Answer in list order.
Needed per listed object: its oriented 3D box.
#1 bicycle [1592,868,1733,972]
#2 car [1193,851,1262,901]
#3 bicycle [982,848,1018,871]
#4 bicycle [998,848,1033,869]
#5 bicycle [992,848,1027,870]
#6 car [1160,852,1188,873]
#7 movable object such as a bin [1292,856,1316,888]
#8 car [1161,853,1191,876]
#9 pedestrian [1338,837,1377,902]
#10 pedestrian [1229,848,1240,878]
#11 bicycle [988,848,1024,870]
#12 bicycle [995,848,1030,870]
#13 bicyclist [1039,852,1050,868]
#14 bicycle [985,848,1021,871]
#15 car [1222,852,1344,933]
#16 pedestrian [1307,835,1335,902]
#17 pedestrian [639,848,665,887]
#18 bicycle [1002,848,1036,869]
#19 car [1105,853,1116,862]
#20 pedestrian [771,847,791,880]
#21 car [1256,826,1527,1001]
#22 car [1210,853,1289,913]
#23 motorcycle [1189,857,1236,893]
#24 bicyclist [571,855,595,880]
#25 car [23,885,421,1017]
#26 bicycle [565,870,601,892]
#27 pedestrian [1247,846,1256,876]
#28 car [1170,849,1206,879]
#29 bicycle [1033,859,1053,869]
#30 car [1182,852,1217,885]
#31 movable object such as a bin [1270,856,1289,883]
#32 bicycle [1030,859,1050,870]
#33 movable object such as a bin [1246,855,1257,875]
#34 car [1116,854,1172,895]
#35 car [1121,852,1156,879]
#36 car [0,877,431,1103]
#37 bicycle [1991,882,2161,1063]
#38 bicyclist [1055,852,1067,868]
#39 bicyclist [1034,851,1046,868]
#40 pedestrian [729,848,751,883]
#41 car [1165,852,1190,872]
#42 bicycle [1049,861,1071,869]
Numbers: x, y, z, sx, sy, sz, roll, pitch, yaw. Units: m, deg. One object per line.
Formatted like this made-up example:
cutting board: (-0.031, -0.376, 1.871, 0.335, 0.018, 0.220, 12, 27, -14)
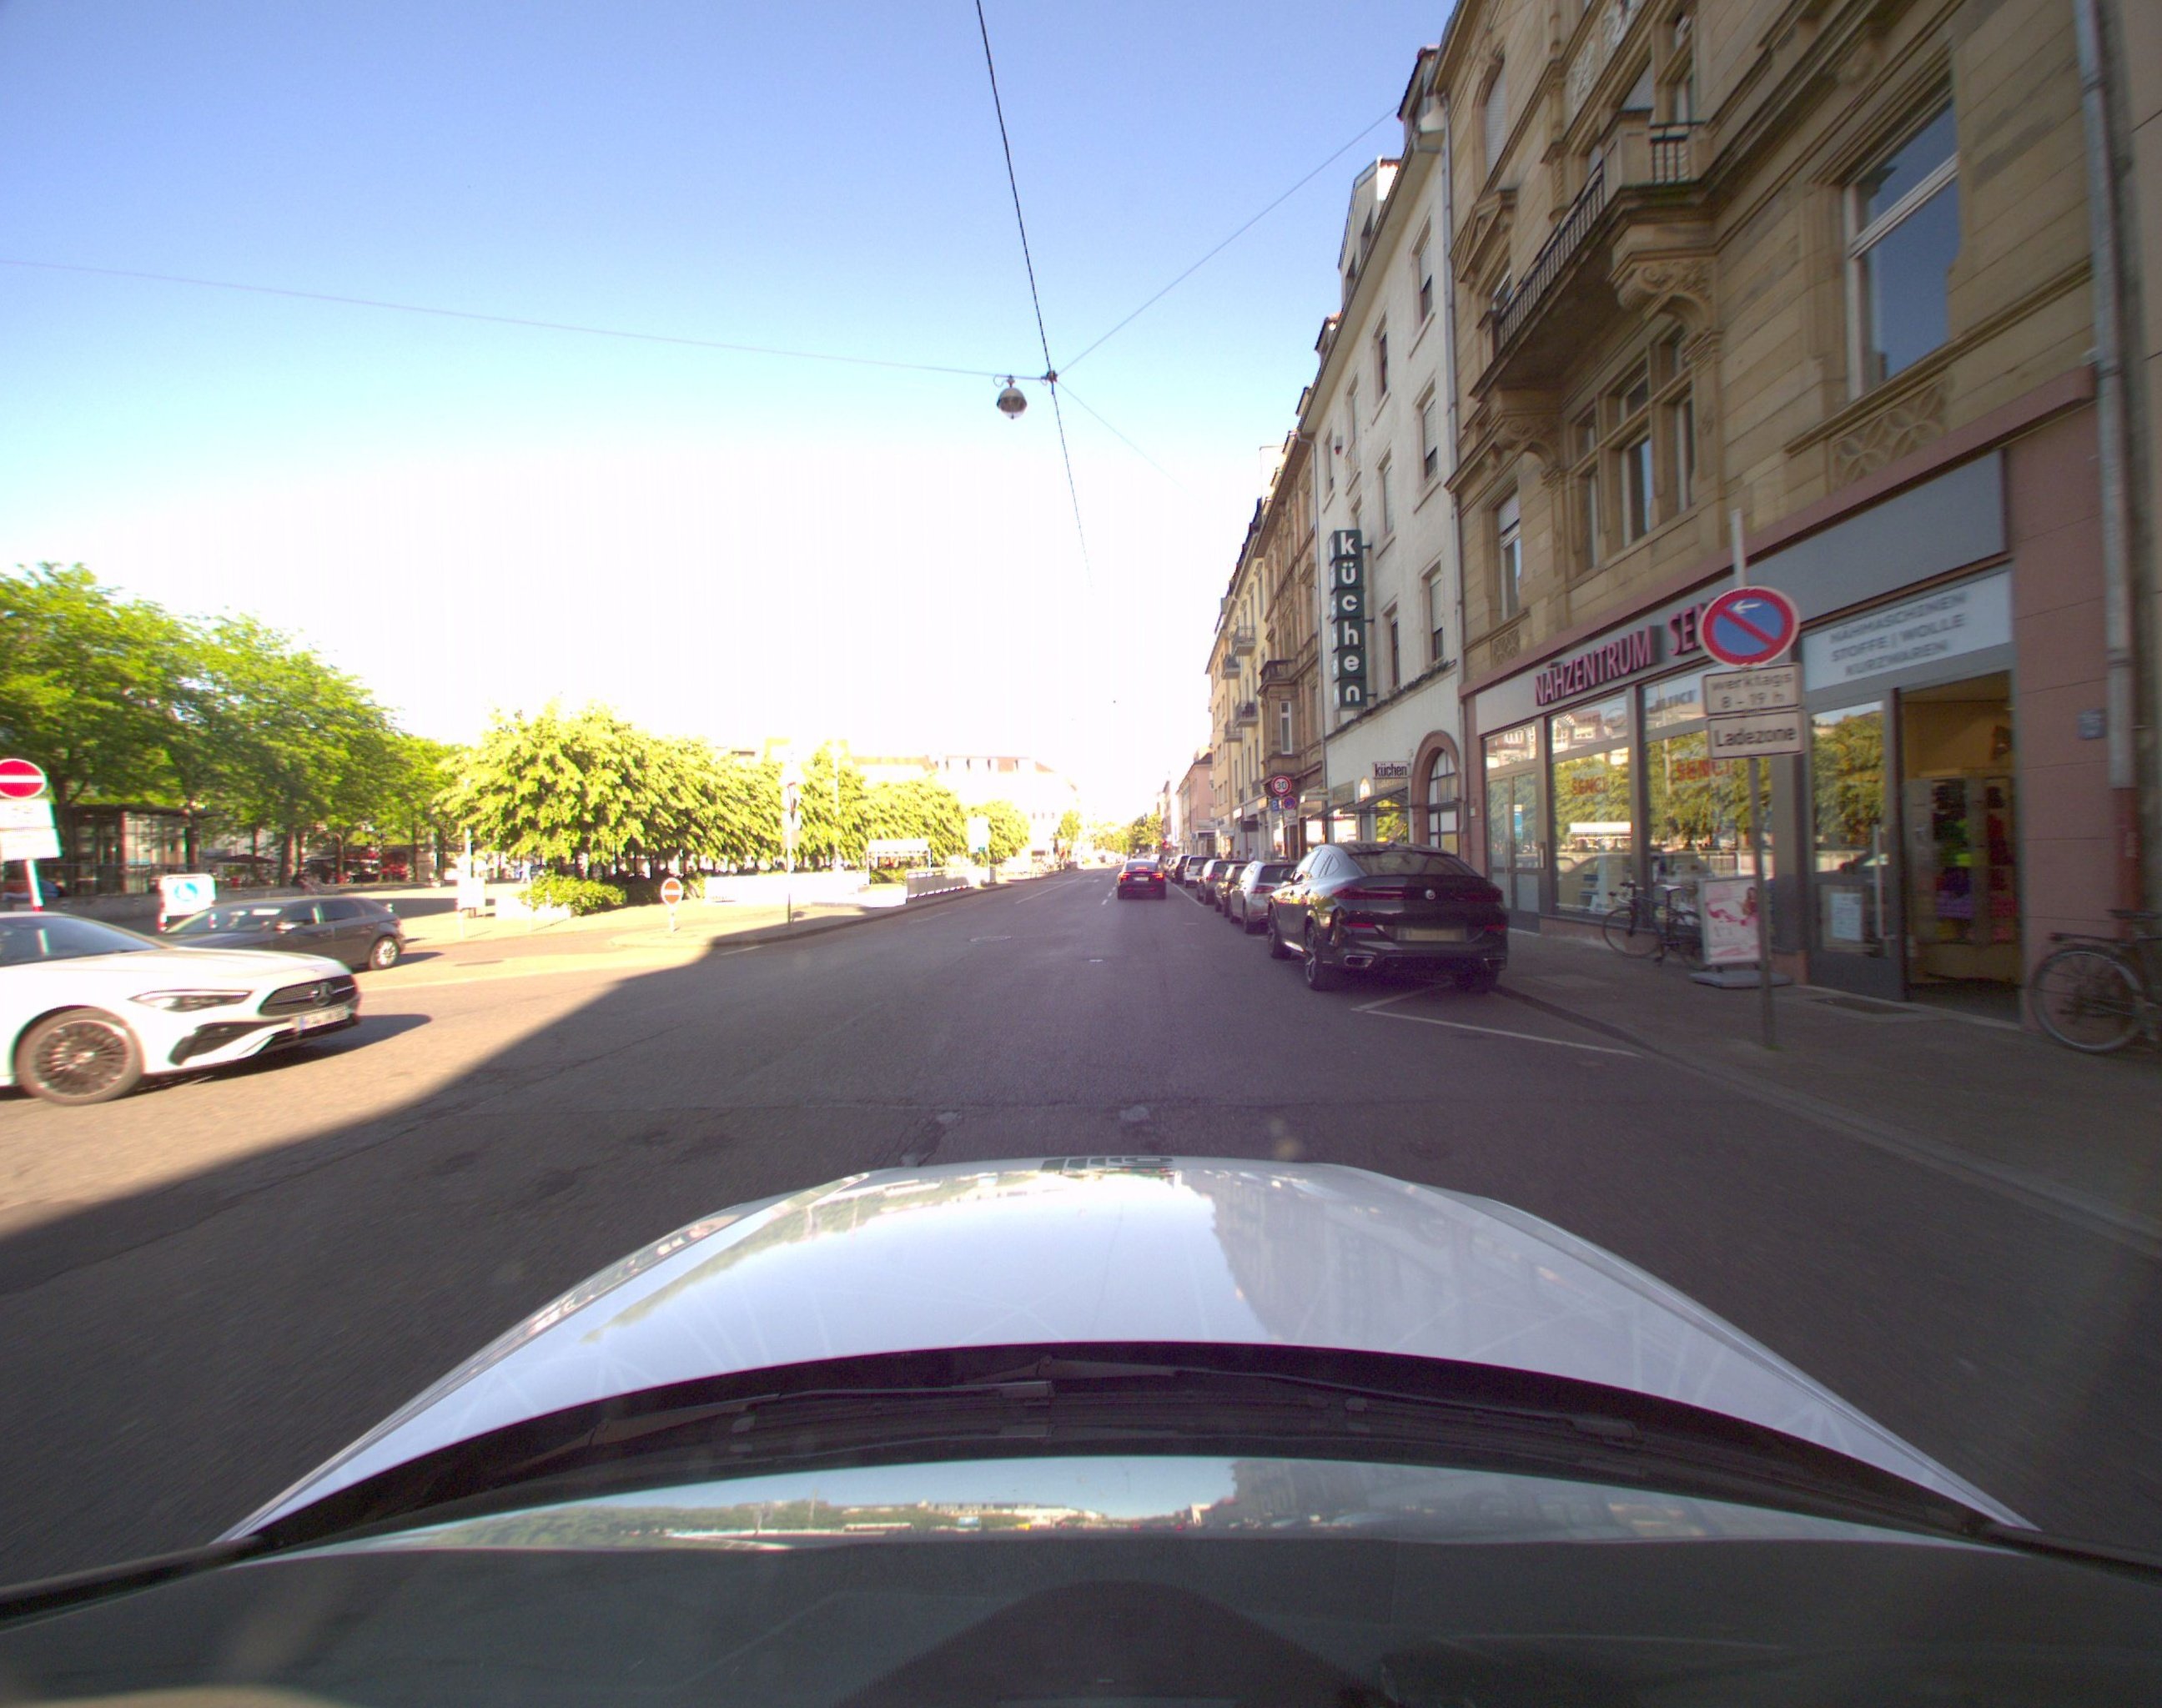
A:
bicycle: (6.987, 0.738, 9.901, 0.356, 1.085, 1.943, -3, 0, 3)
car: (4.892, 0.688, 27.688, 1.831, 1.546, 4.232, 0, 1, 3)
bicycle: (-7.267, 0.491, 72.964, 3.100, 2.013, 0.912, -1, 0, 12)
bicycle: (-6.274, 0.423, 78.034, 3.100, 2.013, 0.912, -1, 0, 12)
bicycle: (-6.636, 0.469, 75.928, 3.100, 2.013, 0.912, -1, 0, 12)
car: (6.684, 0.642, 59.000, 1.785, 1.460, 3.871, 0, -1, 3)
movable object such as a bin: (8.055, 0.649, 29.414, 0.676, 1.096, 0.627, -3, 0, 3)
car: (6.271, 0.707, 54.115, 1.784, 1.460, 4.088, 0, -1, 4)
pedestrian: (7.382, 0.403, 21.755, 0.797, 1.675, 0.590, -3, 0, 6)
pedestrian: (8.508, 0.506, 45.084, 0.466, 1.635, 0.516, -1, 0, 20)
bicycle: (-6.877, 0.457, 74.894, 3.100, 2.013, 0.912, -1, 0, 12)
bicycle: (-6.460, 0.458, 77.004, 3.100, 2.013, 0.912, -1, 0, 12)
bicyclist: (-3.932, 0.594, 87.225, 1.142, 1.686, 0.819, -1, 0, 0)
bicycle: (-7.086, 0.471, 73.912, 3.100, 2.013, 0.912, -1, 0, 12)
car: (4.140, 0.712, 17.312, 1.831, 1.487, 4.189, 0, 1, 4)
pedestrian: (6.443, 0.382, 21.888, 0.617, 1.766, 0.519, -1, 0, 6)
pedestrian: (-23.938, 0.747, 45.449, 0.725, 2.108, 0.973, -1, 0, 26)
bicycle: (-6.045, 0.409, 79.066, 3.100, 2.013, 0.912, -1, 0, 12)
car: (5.874, 0.628, 162.010, 1.984, 1.771, 4.006, 0, 1, 5)
pedestrian: (-19.611, 0.630, 53.318, 0.725, 2.108, 0.973, -1, 0, 26)
car: (3.593, 0.561, 10.508, 1.965, 1.725, 4.829, 0, 1, 4)
car: (4.467, 0.724, 22.099, 1.601, 1.449, 3.834, 0, 1, 4)
motorcycle: (5.159, 0.816, 31.887, 2.055, 1.328, 0.648, -1, 0, -42)
bicyclist: (-35.302, 0.963, 57.761, 0.961, 1.700, 1.210, -1, 0, -2)
car: (-13.227, 1.371, 13.088, 1.745, 1.422, 4.532, -2, 1, -5)
bicycle: (-35.267, 1.896, 57.740, 0.961, 1.503, 2.687, -1, 0, -1)
pedestrian: (9.475, 0.388, 45.318, 0.468, 1.635, 0.514, -1, 0, 8)
car: (6.065, 0.598, 46.467, 1.709, 1.635, 4.086, 0, -1, 2)
bicycle: (-4.062, 1.077, 87.218, 2.005, 1.022, 0.762, -1, 0, 0)
car: (5.881, 0.698, 40.634, 1.606, 1.546, 2.859, 0, 0, 5)
movable object such as a bin: (8.467, 0.649, 34.746, 0.641, 1.076, 0.821, -3, 0, 5)
bicycle: (-4.285, 1.076, 84.708, 2.005, 1.022, 0.888, -1, 0, 0)
movable object such as a bin: (8.972, 0.578, 42.959, 0.453, 1.052, 0.500, -3, 0, 2)
car: (2.385, 0.769, 31.628, 1.987, 1.480, 4.498, 0, -1, 3)
car: (3.416, 0.628, 47.956, 1.925, 1.487, 4.278, -1, 0, 6)
car: (-8.578, 1.040, 6.318, 5.103, 1.423, 1.993, -3, 0, -11)
bicycle: (6.718, 0.736, 4.970, 0.356, 1.044, 1.792, -3, 0, 3)
bicyclist: (-2.194, 0.626, 88.974, 1.140, 1.686, 0.916, -1, 0, 7)
bicyclist: (-4.224, 0.573, 84.714, 1.142, 1.686, 0.919, -1, 0, 0)
pedestrian: (-20.579, 0.706, 49.150, 0.725, 2.108, 0.973, -1, 0, 26)
car: (7.491, 0.635, 63.675, 1.784, 1.460, 3.872, 0, -1, 4)
bicycle: (-2.314, 1.190, 88.979, 2.231, 0.883, 0.925, -1, 0, 7)
